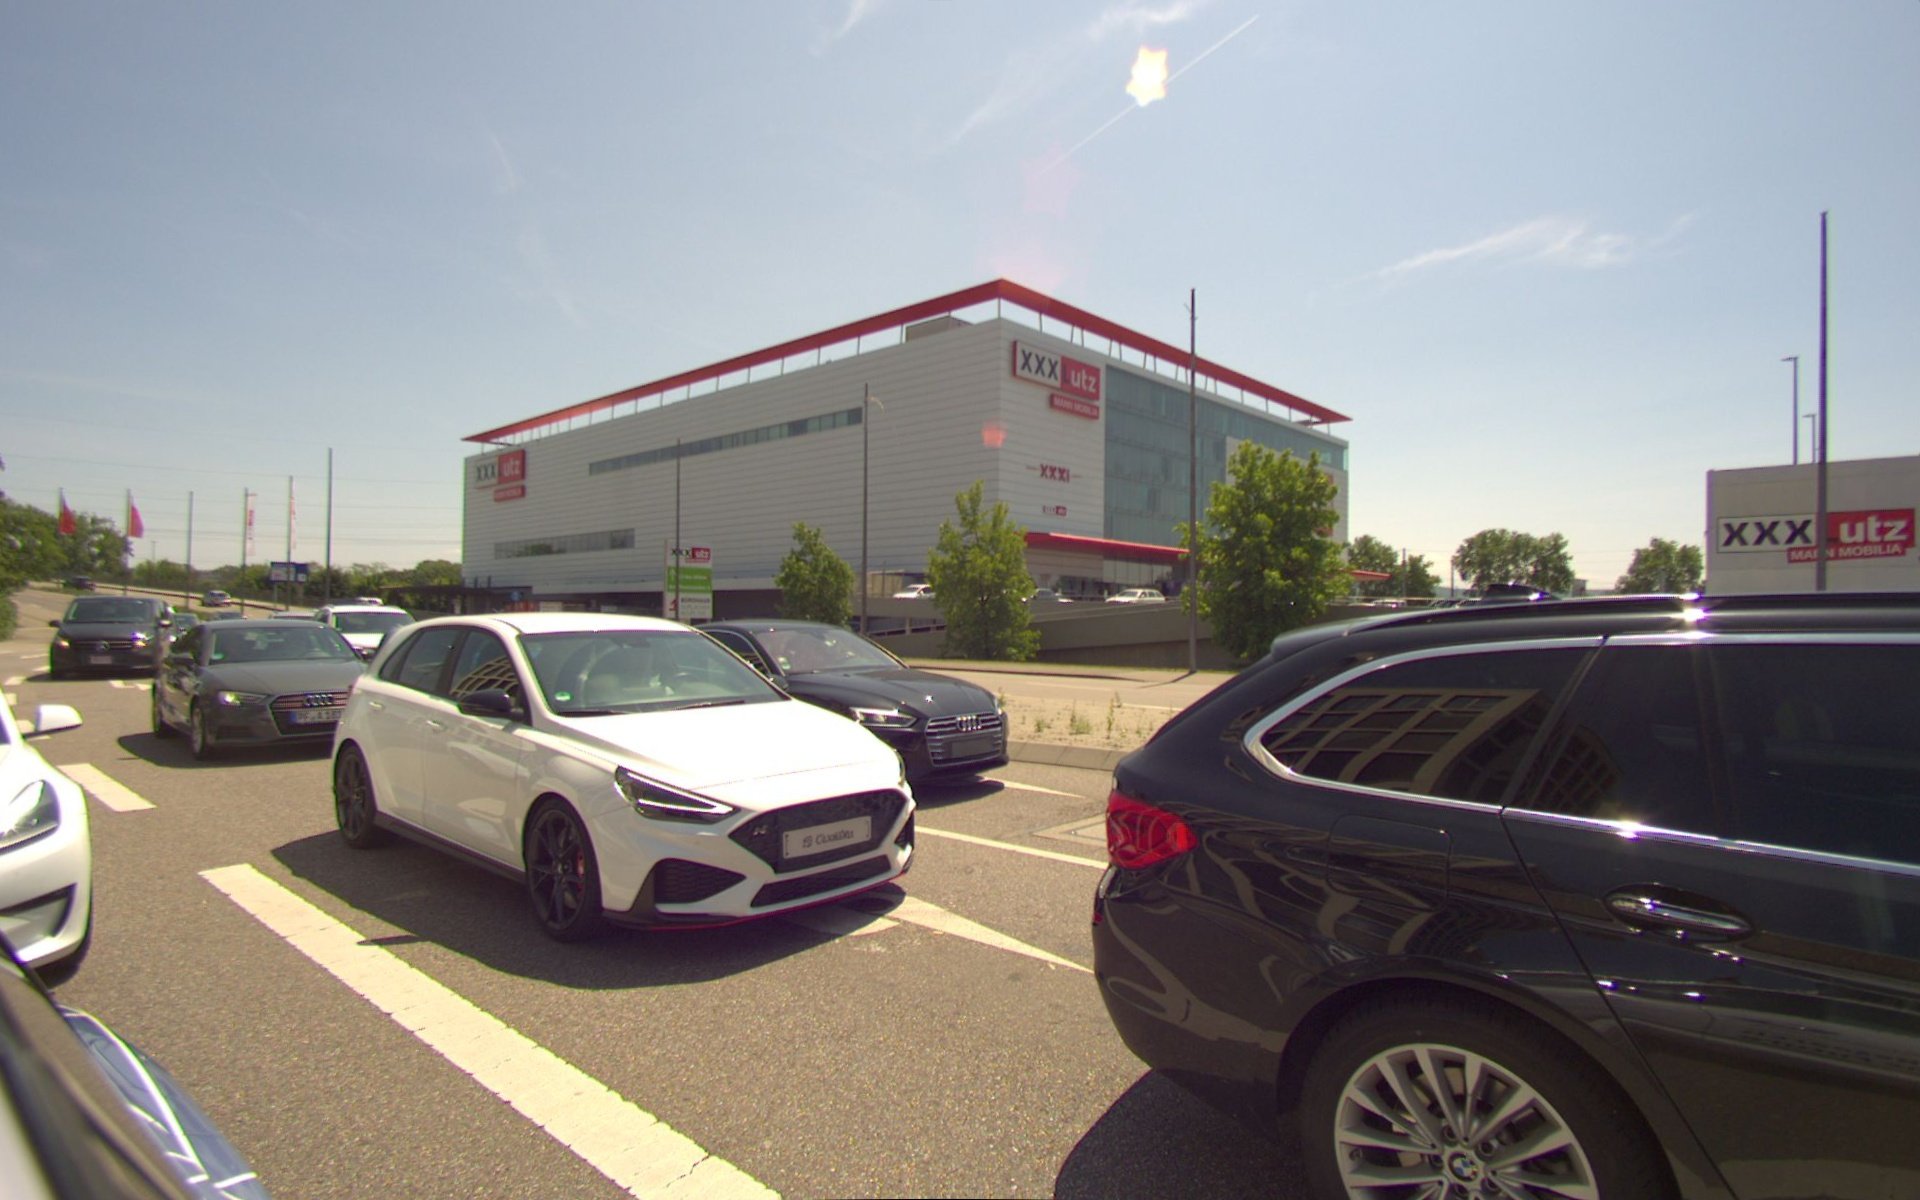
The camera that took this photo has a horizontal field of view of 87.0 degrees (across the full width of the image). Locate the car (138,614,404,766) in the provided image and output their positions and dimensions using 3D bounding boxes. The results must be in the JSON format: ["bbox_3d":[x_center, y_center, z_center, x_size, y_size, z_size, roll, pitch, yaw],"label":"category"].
[{"bbox_3d":[-7.863,0.878,11.395,1.744,1.393,4.092,2,-2,-45],"label":"car"}]

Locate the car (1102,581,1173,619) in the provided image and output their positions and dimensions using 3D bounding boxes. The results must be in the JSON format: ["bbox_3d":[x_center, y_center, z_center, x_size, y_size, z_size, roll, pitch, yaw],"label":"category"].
[{"bbox_3d":[10.135,0.046,57.575,4.407,2.029,1.680,2,-2,-44],"label":"car"}]

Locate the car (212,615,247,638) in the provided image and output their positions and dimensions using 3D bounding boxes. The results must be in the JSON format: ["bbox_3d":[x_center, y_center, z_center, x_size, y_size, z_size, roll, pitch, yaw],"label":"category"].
[{"bbox_3d":[-52.132,1.889,72.191,1.700,1.564,4.006,1,-2,-41],"label":"car"}]

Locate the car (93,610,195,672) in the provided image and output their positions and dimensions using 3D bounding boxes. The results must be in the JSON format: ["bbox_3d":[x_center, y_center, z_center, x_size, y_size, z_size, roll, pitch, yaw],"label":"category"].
[{"bbox_3d":[-23.466,1.151,29.237,1.784,1.652,4.011,1,-2,-32],"label":"car"}]

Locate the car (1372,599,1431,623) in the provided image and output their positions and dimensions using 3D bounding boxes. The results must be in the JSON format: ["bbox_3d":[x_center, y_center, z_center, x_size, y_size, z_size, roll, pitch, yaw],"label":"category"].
[{"bbox_3d":[35.953,0.923,82.485,4.000,1.915,1.972,-1,-2,43],"label":"car"}]

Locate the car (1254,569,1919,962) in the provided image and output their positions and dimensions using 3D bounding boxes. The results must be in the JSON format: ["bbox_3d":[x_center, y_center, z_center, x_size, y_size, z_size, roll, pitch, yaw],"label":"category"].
[{"bbox_3d":[3.630,0.613,4.708,4.009,1.433,1.674,-2,-1,43],"label":"car"}]

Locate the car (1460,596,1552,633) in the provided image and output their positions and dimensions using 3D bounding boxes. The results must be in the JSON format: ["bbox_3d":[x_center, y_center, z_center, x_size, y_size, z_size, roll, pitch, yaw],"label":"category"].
[{"bbox_3d":[30.864,0.832,57.256,4.323,2.029,1.975,0,-2,38],"label":"car"}]

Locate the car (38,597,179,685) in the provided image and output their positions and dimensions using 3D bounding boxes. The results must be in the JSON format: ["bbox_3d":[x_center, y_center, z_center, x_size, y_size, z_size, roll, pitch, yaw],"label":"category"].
[{"bbox_3d":[-19.661,0.891,23.573,1.865,1.835,4.850,1,-1,-33],"label":"car"}]

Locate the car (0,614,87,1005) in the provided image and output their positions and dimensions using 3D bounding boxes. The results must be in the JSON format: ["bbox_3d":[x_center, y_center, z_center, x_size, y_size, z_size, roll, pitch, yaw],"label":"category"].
[{"bbox_3d":[-5.604,0.808,4.681,4.282,1.447,1.800,-1,0,41],"label":"car"}]

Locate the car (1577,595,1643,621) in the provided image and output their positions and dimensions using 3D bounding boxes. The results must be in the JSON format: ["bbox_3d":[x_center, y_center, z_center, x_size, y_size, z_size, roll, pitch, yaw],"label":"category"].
[{"bbox_3d":[52.997,0.641,82.536,4.328,2.029,1.972,0,-2,42],"label":"car"}]

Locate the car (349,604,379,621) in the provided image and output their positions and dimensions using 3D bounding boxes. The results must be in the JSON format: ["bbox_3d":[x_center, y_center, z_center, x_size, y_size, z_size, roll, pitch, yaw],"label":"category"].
[{"bbox_3d":[-79.764,1.703,135.389,4.815,2.300,2.162,-1,-2,44],"label":"car"}]

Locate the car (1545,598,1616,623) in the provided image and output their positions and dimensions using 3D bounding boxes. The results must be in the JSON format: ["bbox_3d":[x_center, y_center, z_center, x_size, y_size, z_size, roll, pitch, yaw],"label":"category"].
[{"bbox_3d":[45.260,0.740,73.855,4.134,1.754,1.759,0,-2,42],"label":"car"}]

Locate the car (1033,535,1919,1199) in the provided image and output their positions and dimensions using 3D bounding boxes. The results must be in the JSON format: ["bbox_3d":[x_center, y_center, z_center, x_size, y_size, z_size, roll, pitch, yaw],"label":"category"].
[{"bbox_3d":[2.484,0.632,1.749,4.553,1.451,1.779,-1,-1,40],"label":"car"}]

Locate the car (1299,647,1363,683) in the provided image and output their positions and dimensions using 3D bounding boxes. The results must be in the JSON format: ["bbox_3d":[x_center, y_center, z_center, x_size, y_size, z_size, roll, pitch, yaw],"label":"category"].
[{"bbox_3d":[19.052,3.296,51.886,1.997,1.719,3.949,-1,-2,38],"label":"car"}]

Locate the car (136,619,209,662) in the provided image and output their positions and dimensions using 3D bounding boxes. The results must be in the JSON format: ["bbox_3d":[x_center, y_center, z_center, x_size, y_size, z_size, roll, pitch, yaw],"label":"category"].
[{"bbox_3d":[-28.218,1.417,36.357,1.582,1.451,3.744,1,-2,-30],"label":"car"}]

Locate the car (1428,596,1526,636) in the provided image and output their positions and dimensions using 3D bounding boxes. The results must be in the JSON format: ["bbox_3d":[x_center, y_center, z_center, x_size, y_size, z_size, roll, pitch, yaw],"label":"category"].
[{"bbox_3d":[27.078,0.852,53.076,4.323,2.029,1.974,0,-2,38],"label":"car"}]

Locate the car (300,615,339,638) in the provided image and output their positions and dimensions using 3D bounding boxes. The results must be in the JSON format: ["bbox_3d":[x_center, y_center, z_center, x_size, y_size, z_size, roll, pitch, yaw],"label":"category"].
[{"bbox_3d":[-49.212,2.017,77.763,1.839,1.736,4.048,2,-2,-42],"label":"car"}]

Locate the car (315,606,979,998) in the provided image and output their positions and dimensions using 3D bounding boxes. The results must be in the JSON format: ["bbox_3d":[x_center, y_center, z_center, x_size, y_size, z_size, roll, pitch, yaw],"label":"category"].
[{"bbox_3d":[-2.013,0.777,5.783,4.068,1.447,1.769,-1,-1,41],"label":"car"}]

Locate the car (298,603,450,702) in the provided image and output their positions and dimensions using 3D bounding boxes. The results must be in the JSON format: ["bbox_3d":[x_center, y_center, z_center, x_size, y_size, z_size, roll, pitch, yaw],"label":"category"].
[{"bbox_3d":[-11.313,0.914,19.384,1.743,1.653,4.498,0,0,-40],"label":"car"}]

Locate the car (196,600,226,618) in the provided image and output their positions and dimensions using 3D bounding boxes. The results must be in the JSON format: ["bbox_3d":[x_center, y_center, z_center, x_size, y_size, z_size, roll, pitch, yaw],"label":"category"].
[{"bbox_3d":[-77.484,0.945,104.719,4.044,1.736,1.841,-2,-3,44],"label":"car"}]

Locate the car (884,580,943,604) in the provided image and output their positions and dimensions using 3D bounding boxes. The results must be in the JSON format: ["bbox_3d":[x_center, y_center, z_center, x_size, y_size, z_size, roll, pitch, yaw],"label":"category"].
[{"bbox_3d":[-3.152,-0.538,68.995,3.940,1.519,1.719,2,-2,-44],"label":"car"}]

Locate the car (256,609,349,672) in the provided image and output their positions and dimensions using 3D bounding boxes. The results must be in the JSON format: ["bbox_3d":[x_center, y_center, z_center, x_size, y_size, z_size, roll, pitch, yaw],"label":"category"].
[{"bbox_3d":[-16.452,0.970,25.262,1.741,1.433,3.908,-1,-1,-36],"label":"car"}]

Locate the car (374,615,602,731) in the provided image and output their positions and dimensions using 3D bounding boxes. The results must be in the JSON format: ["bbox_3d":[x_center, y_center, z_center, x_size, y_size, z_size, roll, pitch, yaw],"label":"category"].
[{"bbox_3d":[-7.041,0.965,14.844,1.744,1.413,4.435,0,-1,-43],"label":"car"}]

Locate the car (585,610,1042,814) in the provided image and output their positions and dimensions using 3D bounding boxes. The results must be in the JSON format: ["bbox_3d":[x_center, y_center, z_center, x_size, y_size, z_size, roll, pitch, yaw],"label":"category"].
[{"bbox_3d":[-1.533,0.844,9.196,4.466,1.415,1.654,-2,-1,42],"label":"car"}]
